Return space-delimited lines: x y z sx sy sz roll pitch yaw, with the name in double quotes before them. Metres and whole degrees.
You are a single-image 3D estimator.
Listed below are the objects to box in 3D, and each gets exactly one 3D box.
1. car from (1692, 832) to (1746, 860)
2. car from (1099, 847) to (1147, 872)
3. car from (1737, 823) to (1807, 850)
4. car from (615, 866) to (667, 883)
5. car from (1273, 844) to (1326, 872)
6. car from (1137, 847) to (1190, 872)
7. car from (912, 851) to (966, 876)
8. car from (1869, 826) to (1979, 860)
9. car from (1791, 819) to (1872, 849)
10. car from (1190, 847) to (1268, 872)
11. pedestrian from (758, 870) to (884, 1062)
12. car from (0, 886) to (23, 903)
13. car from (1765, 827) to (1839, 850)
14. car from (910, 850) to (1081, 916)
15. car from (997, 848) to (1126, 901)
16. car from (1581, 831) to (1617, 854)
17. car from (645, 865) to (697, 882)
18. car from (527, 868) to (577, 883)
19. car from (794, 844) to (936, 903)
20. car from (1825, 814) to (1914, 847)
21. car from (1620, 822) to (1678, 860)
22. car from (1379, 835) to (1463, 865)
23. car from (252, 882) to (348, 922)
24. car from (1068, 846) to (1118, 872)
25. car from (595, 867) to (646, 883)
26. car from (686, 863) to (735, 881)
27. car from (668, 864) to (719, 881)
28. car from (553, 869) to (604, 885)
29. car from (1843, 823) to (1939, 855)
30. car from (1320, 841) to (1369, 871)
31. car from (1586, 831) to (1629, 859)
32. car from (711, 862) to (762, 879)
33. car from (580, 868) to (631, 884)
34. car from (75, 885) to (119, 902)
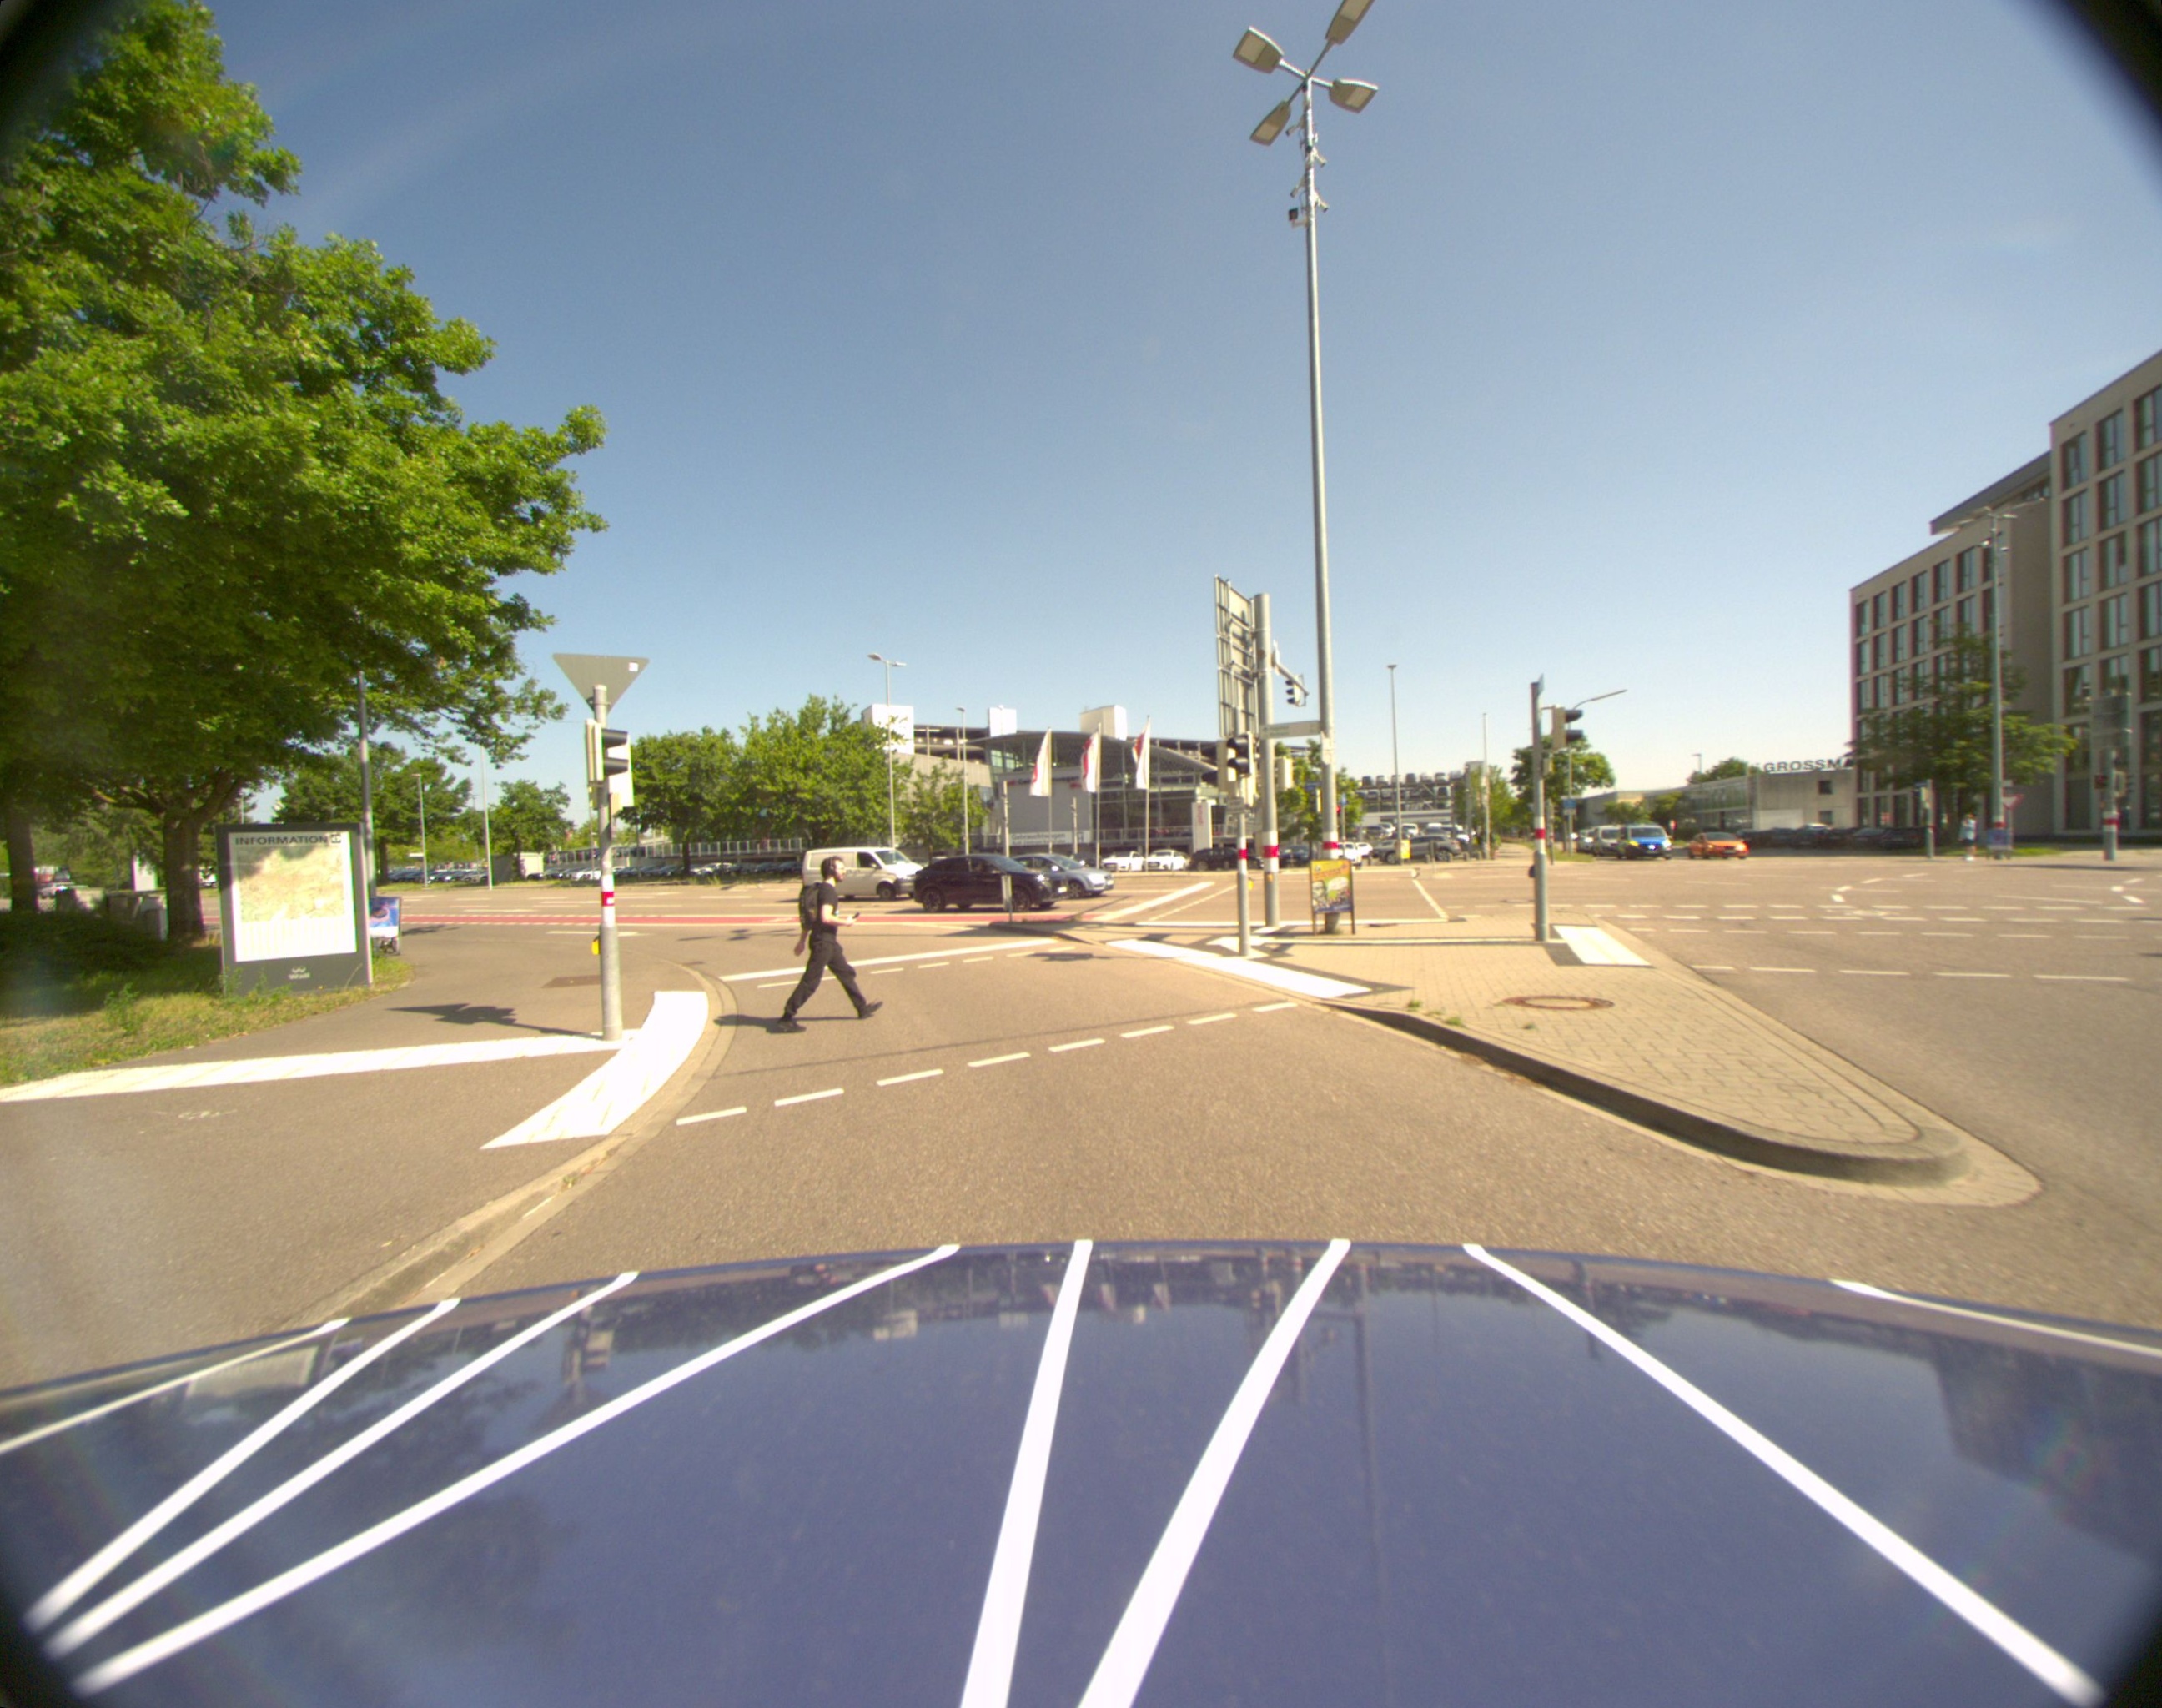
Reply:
"car" 33.345 -0.450 39.799 1.735 1.356 3.873 -1 0 33
"car" 2.668 0.328 47.616 1.782 1.462 3.894 -2 0 22
"car" 54.720 -1.369 60.230 2.004 2.002 3.989 -2 1 -44
"car" -37.464 1.746 64.724 1.591 1.242 3.423 -2 0 29
"car" 12.571 0.191 43.604 1.995 1.452 4.007 -2 0 30
"car" 5.107 0.326 46.706 2.000 1.413 4.121 -2 0 25
"car" -9.811 0.626 52.858 1.782 1.564 3.894 -2 0 22
"car" 48.936 -0.632 44.219 3.989 1.728 2.004 -2 1 39
"car" 52.754 -1.395 53.467 2.004 2.002 3.989 -2 1 -44
"car" 8.944 0.326 45.938 4.341 1.342 1.824 -2 0 23
"pedestrian" -2.633 1.065 7.710 0.961 1.769 0.704 -2 1 -41
"car" -135.261 5.082 95.494 3.990 2.002 2.003 -2 1 27
"car" 54.338 -1.125 57.279 2.004 1.605 3.989 -2 1 -44
"car" -2.455 0.834 21.676 4.493 1.618 1.718 -3 1 23
"car" -0.664 0.684 25.160 3.821 1.603 1.763 -2 1 30
"car" 36.956 -0.843 54.270 1.910 1.485 3.871 -2 1 31
"car" -34.190 1.599 63.403 1.591 1.242 3.423 -2 0 30
"car" -48.867 1.947 70.282 1.591 1.242 3.423 -2 0 29
"car" -7.994 0.735 28.078 4.988 1.996 1.743 -2 2 23
"car" 51.902 -1.493 50.109 2.004 2.002 3.989 -2 1 -44
"car" 30.809 -0.680 41.330 2.181 1.898 4.739 -1 0 33
"car" 20.312 -0.232 45.391 4.471 1.578 1.983 -2 0 26
"car" -32.770 1.955 31.863 4.227 1.456 1.775 -1 2 31
"car" 0.808 0.319 48.660 1.884 1.537 3.894 -2 0 22
"car" -39.864 1.836 65.827 1.591 1.242 3.423 -2 0 29
"car" -30.119 1.418 61.824 1.637 1.317 3.176 -2 0 29
"car" -31.952 1.544 62.740 1.591 1.242 3.423 -2 0 29
"car" -44.816 2.024 67.826 1.591 1.242 3.423 -2 0 29
"car" 50.170 -0.919 47.176 2.004 1.816 3.989 -2 1 -44
"car" 14.864 0.091 42.730 1.884 1.452 4.006 -2 1 30
"car" 32.926 -0.585 47.609 1.664 1.548 3.861 -2 1 27
"car" -27.676 1.323 61.073 1.591 1.242 3.423 -2 0 29
"car" -41.775 1.910 66.817 1.591 1.242 3.423 -2 0 29
"car" -106.984 4.250 82.634 4.502 1.665 2.173 -2 1 29
